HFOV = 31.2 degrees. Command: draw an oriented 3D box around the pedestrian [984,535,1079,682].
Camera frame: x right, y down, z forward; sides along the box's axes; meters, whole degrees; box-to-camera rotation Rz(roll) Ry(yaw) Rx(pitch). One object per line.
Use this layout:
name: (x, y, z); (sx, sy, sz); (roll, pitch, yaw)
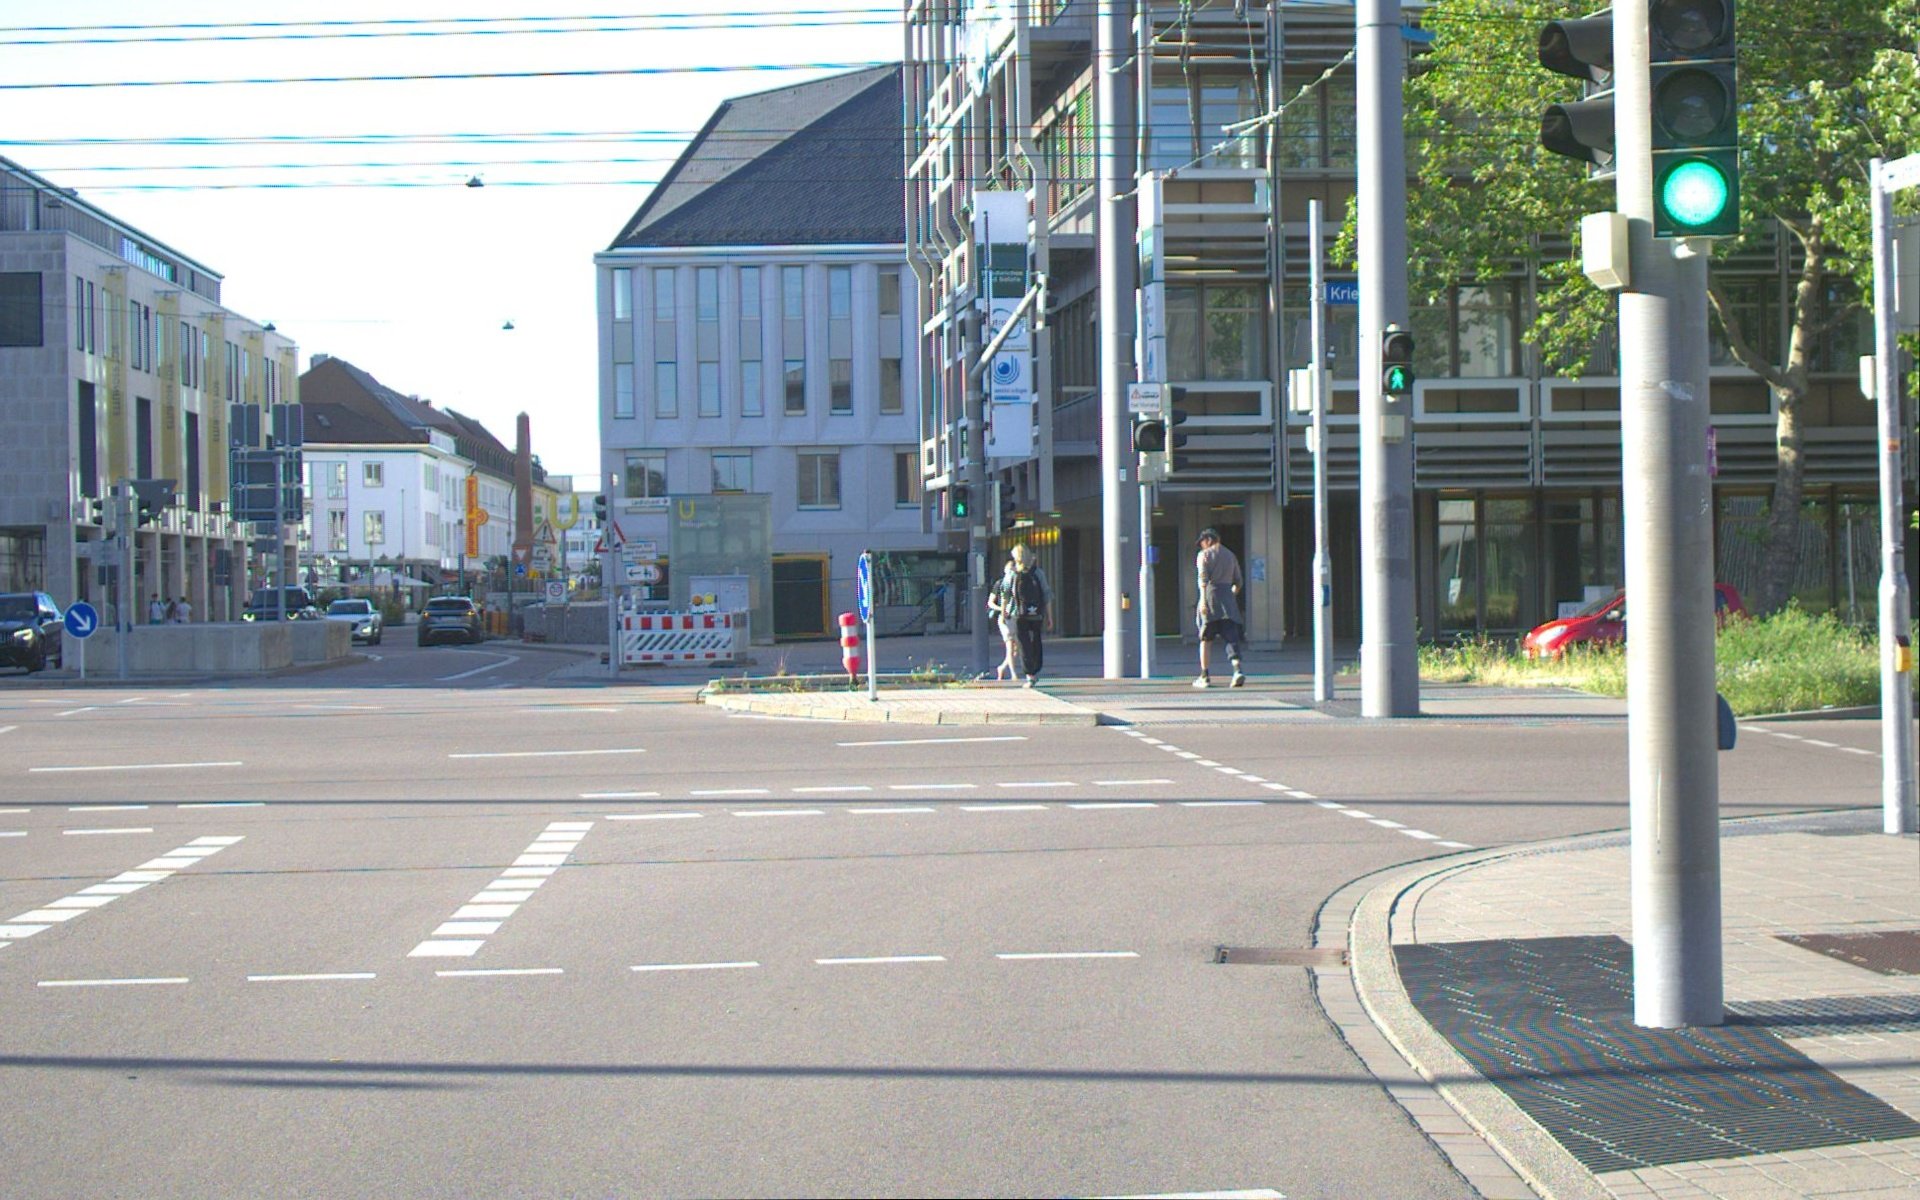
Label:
pedestrian: (0.766, 0.079, 37.175); (0.895, 1.544, 0.924); (-1, 2, -7)

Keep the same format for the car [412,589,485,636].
car: (-16.024, 0.391, 107.888); (1.936, 1.445, 4.262); (-1, 0, -4)

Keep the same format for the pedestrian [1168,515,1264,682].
pedestrian: (2.701, -0.021, 36.305); (0.855, 1.738, 0.739); (-1, 1, -8)

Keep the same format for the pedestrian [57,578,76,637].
pedestrian: (-30.107, 0.252, 115.834); (0.616, 2.007, 0.478); (1, 0, -15)

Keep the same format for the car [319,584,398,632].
car: (-21.693, 0.296, 124.216); (2.174, 1.686, 5.616); (-1, 0, -3)

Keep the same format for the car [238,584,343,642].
car: (-20.170, 0.397, 103.734); (2.174, 1.686, 5.487); (-1, 0, -1)

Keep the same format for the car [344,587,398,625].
car: (-29.324, 0.317, 171.285); (2.174, 1.866, 5.616); (-1, 0, -4)

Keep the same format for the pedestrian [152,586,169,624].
pedestrian: (-28.643, 0.175, 123.149); (0.488, 1.352, 0.564); (1, 0, -6)

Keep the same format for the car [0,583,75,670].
car: (-18.903, 0.511, 68.105); (1.937, 1.672, 4.295); (-1, 0, -5)

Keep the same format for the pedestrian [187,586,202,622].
pedestrian: (-29.078, 0.151, 130.578); (0.488, 1.352, 0.564); (1, 0, -6)

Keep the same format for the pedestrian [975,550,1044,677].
pedestrian: (0.750, 0.204, 52.366); (1.012, 1.904, 1.051); (-1, 0, -1)

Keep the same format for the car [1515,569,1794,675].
car: (10.738, 0.354, 53.334); (3.867, 1.481, 1.846); (-1, -3, -2)
